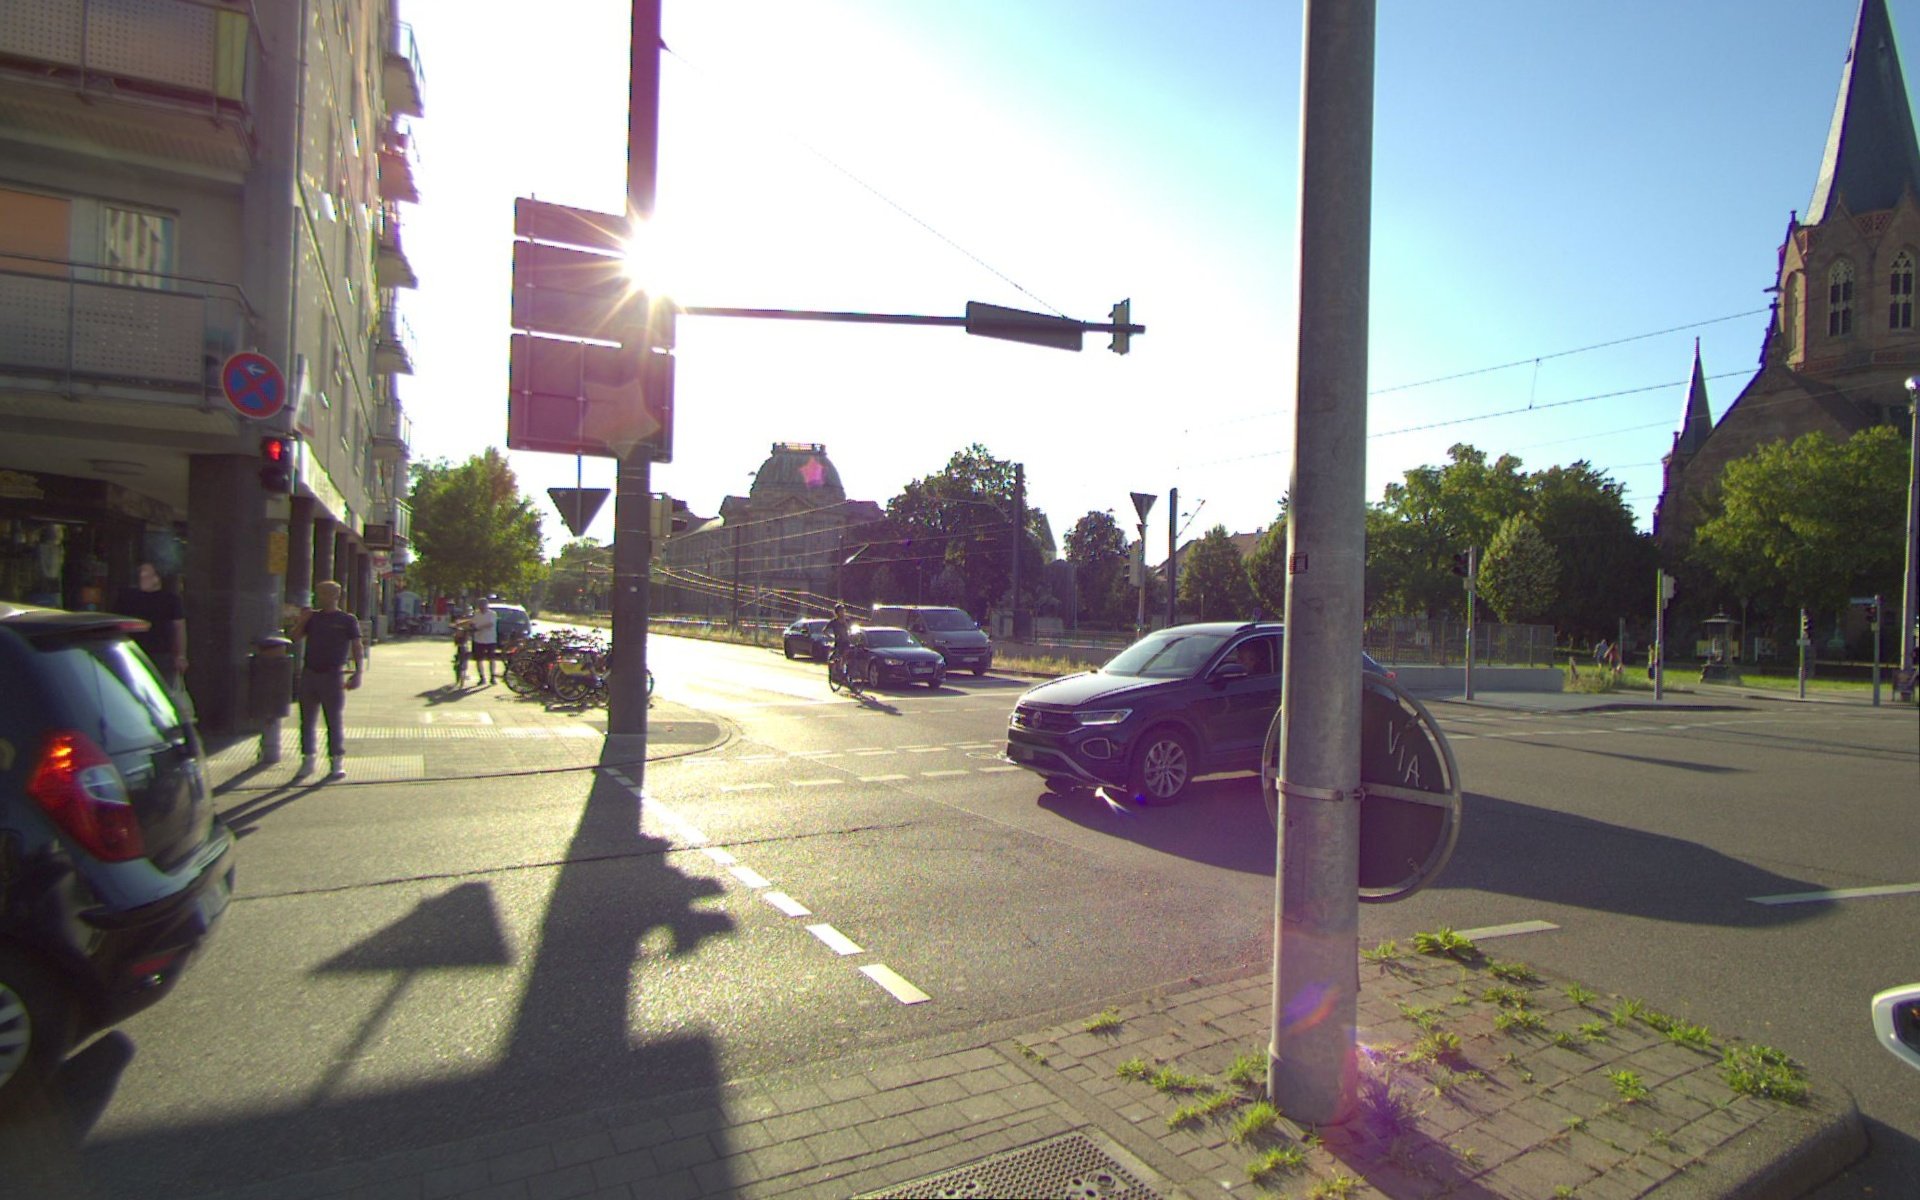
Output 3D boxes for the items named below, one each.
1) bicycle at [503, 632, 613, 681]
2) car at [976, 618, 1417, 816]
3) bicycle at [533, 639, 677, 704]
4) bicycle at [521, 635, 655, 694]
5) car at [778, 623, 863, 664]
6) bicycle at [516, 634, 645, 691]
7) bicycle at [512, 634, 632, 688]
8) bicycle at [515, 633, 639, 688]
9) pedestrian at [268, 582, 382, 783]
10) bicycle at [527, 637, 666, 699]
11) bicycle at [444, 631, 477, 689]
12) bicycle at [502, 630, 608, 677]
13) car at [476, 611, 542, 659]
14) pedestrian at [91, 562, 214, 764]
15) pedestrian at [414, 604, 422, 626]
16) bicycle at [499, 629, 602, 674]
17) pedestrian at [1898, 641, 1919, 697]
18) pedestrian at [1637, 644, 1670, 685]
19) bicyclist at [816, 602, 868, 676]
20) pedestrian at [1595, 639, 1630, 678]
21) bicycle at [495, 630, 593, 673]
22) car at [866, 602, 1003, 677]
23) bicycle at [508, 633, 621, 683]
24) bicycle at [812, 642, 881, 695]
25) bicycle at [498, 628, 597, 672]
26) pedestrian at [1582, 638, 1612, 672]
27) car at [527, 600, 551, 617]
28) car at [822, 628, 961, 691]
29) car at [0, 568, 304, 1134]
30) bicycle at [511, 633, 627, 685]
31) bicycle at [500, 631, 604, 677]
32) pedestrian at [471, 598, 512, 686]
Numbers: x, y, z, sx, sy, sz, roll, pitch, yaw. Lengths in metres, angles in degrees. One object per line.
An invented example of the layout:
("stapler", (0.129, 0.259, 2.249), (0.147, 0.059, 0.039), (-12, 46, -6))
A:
("bicycle", (-9.335, 1.318, 23.367), (2.272, 1.065, 0.731), (3, -1, -29))
("car", (2.371, 0.991, 9.850), (4.097, 1.586, 1.787), (1, -1, -29))
("bicycle", (-6.233, 1.245, 17.673), (2.272, 1.065, 0.731), (2, -1, -29))
("bicycle", (-7.047, 1.223, 19.068), (2.272, 1.065, 0.731), (3, -1, -29))
("car", (-5.231, 1.589, 37.223), (1.780, 1.392, 3.882), (2, -1, -30))
("bicycle", (-7.449, 1.233, 19.749), (2.272, 1.065, 0.731), (3, -1, -29))
("bicycle", (-8.201, 1.292, 21.275), (2.272, 1.065, 0.731), (3, -1, -29))
("bicycle", (-7.836, 1.235, 20.573), (2.272, 1.065, 0.731), (3, -1, -29))
("pedestrian", (-6.028, 0.760, 9.573), (0.801, 1.811, 0.606), (2, 2, -25))
("bicycle", (-6.634, 1.244, 18.371), (2.272, 1.065, 0.731), (3, -1, -29))
("bicycle", (-10.106, 1.188, 20.303), (0.513, 1.106, 2.051), (1, -2, -28))
("bicycle", (-9.641, 1.291, 23.963), (2.272, 1.065, 0.558), (3, -1, -29))
("car", (-15.888, 1.196, 35.313), (1.676, 1.528, 3.968), (2, -1, -30))
("pedestrian", (-7.957, 0.598, 9.932), (0.802, 1.900, 0.606), (2, 2, -28))
("pedestrian", (-42.774, 1.185, 79.317), (0.486, 1.731, 0.545), (2, -1, -29))
("bicycle", (-10.179, 1.296, 24.999), (2.272, 1.065, 0.642), (3, -1, -29))
("pedestrian", (30.806, 2.217, 32.108), (0.802, 1.762, 0.961), (2, -1, -27))
("pedestrian", (30.224, 2.796, 43.792), (0.697, 1.719, 0.894), (2, 0, -8))
("bicyclist", (-2.639, 0.873, 22.469), (0.951, 1.619, 0.733), (1, -1, -28))
("pedestrian", (30.175, 2.709, 46.448), (0.829, 1.719, 1.016), (2, 0, -6))
("bicycle", (-10.925, 1.362, 26.400), (2.272, 1.065, 0.731), (3, -1, -29))
("car", (-0.868, 1.120, 30.056), (1.977, 2.040, 4.899), (2, -1, -30))
("bicycle", (-8.920, 1.310, 22.672), (2.272, 1.065, 0.731), (3, -1, -29))
("bicycle", (-2.539, 1.491, 22.260), (0.940, 1.112, 1.770), (1, -2, -28))
("bicycle", (-10.541, 1.287, 25.699), (2.272, 1.065, 0.731), (3, -1, -29))
("pedestrian", (33.357, 2.880, 52.580), (0.835, 1.719, 1.008), (2, 0, -33))
("car", (-54.214, 1.084, 129.362), (1.980, 2.040, 3.962), (2, -1, -34))
("car", (-1.782, 1.431, 24.832), (1.780, 1.330, 4.167), (2, -1, -30))
("car", (-4.081, 0.687, 2.933), (3.433, 1.565, 1.572), (2, -2, -28))
("bicycle", (-8.541, 1.290, 21.966), (2.272, 1.065, 0.731), (3, -1, -29))
("bicycle", (-9.919, 1.322, 24.481), (2.272, 1.065, 0.558), (3, -1, -29))
("pedestrian", (-9.655, 0.864, 20.690), (0.676, 1.746, 0.605), (2, 2, -29))
